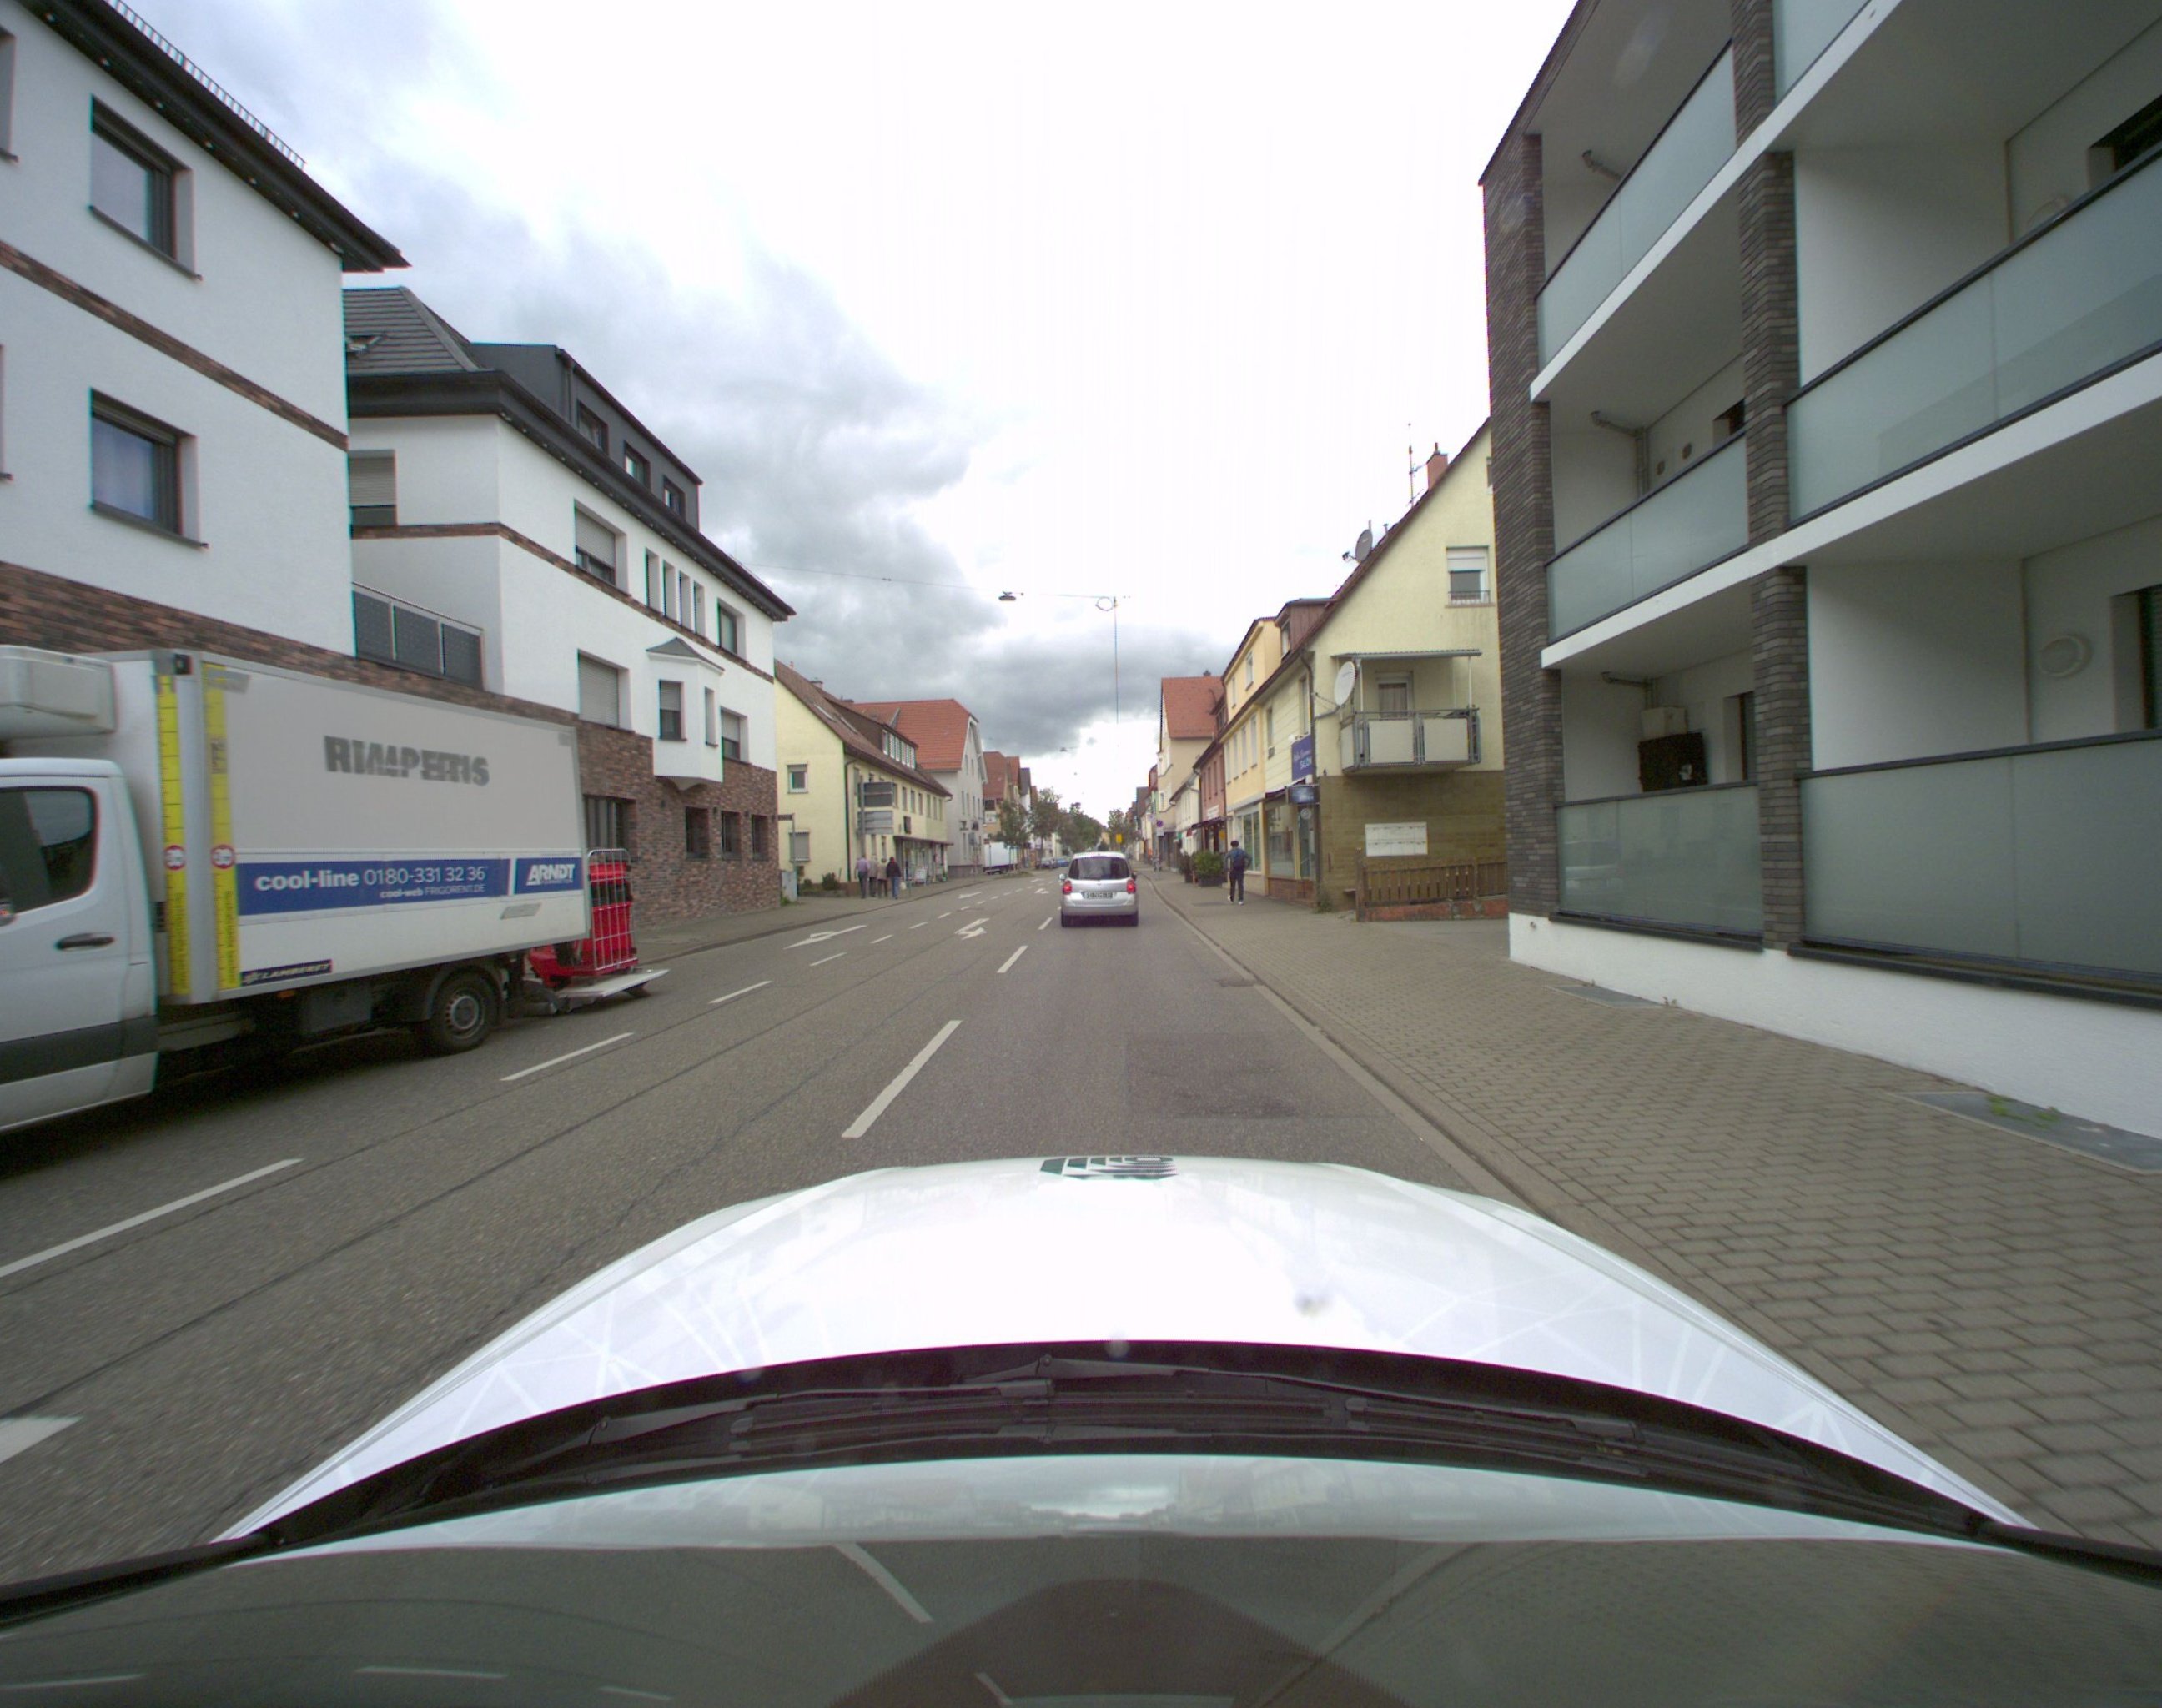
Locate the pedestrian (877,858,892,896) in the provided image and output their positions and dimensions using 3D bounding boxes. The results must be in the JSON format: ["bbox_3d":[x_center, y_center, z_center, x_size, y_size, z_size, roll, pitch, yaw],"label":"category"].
[{"bbox_3d":[-7.913,0.912,32.839,0.424,1.525,0.554,0,0,2],"label":"pedestrian"}]

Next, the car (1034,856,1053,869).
[{"bbox_3d":[-4.305,1.011,93.282,1.806,1.354,4.002,-3,0,2],"label":"car"}]

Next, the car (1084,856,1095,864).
[{"bbox_3d":[1.435,0.989,141.476,1.806,1.354,4.002,-3,0,2],"label":"car"}]

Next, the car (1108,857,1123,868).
[{"bbox_3d":[4.350,1.051,103.113,1.806,1.354,4.002,-3,0,2],"label":"car"}]

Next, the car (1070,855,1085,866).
[{"bbox_3d":[-0.465,0.905,115.231,1.806,1.354,3.859,-3,0,2],"label":"car"}]

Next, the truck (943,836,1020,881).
[{"bbox_3d":[-9.194,0.395,75.854,2.571,3.857,6.890,-3,0,44],"label":"truck"}]

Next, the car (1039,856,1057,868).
[{"bbox_3d":[-3.967,0.952,98.564,1.806,1.354,4.002,-3,0,2],"label":"car"}]

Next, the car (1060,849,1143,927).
[{"bbox_3d":[0.451,0.697,18.659,1.700,1.579,4.001,0,0,1],"label":"car"}]

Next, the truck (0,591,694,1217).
[{"bbox_3d":[-6.271,0.289,6.111,2.426,2.953,8.365,-4,0,1],"label":"truck"}]

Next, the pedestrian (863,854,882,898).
[{"bbox_3d":[-8.417,0.861,32.917,0.577,1.757,0.688,0,0,2],"label":"pedestrian"}]

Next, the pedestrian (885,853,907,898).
[{"bbox_3d":[-7.339,0.856,32.336,0.660,1.757,0.688,0,0,1],"label":"pedestrian"}]

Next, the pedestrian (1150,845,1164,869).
[{"bbox_3d":[5.984,0.225,64.108,0.886,1.787,0.785,-5,0,1],"label":"pedestrian"}]

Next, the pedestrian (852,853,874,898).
[{"bbox_3d":[-8.495,0.826,31.724,0.645,1.757,0.688,0,0,1],"label":"pedestrian"}]

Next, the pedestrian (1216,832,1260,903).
[{"bbox_3d":[4.151,0.348,21.588,0.886,1.787,0.785,-5,0,1],"label":"pedestrian"}]

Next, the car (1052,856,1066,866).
[{"bbox_3d":[-3.265,0.977,119.923,1.806,1.354,4.002,-3,0,2],"label":"car"}]

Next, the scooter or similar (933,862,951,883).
[{"bbox_3d":[-8.714,1.150,51.046,0.573,1.269,2.549,-3,0,2],"label":"scooter or similar"}]
